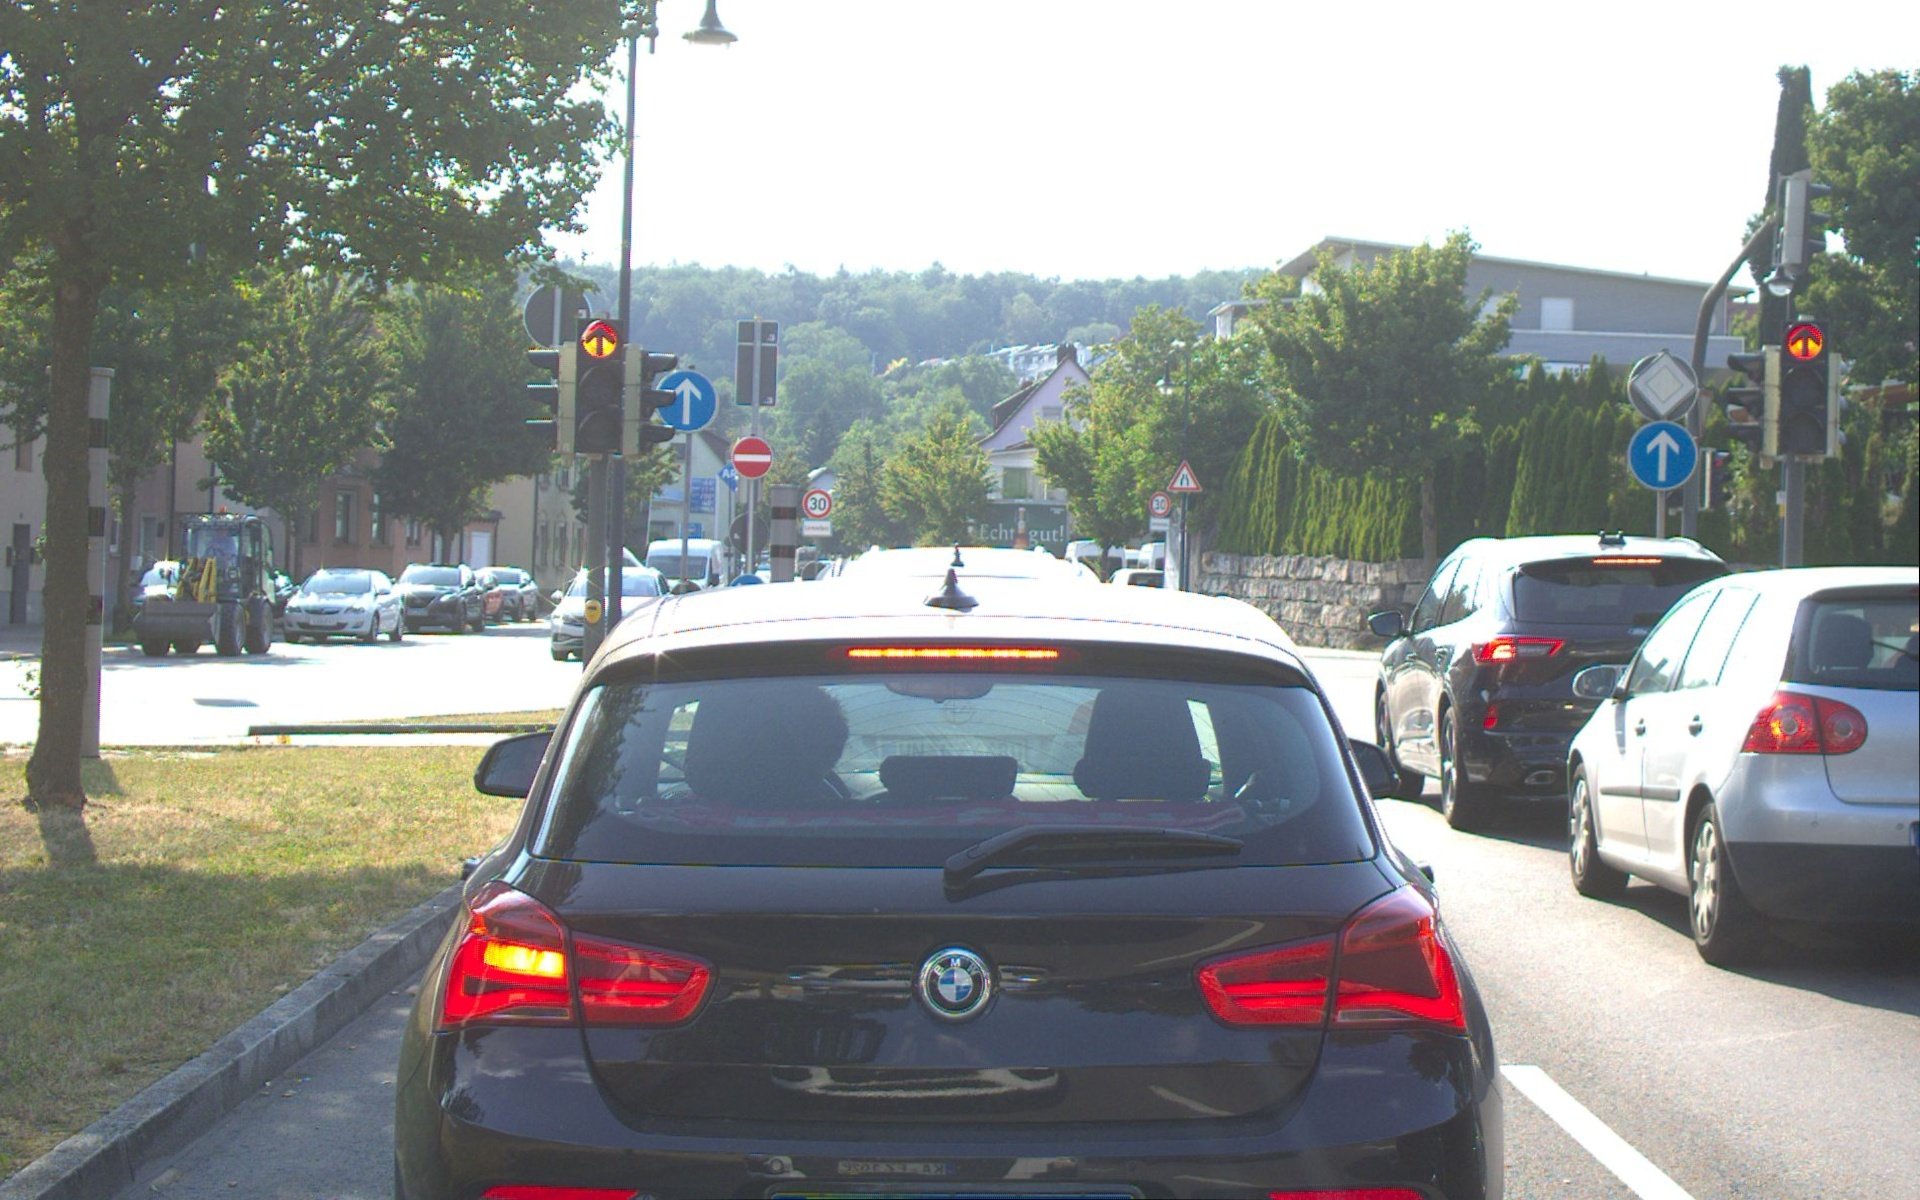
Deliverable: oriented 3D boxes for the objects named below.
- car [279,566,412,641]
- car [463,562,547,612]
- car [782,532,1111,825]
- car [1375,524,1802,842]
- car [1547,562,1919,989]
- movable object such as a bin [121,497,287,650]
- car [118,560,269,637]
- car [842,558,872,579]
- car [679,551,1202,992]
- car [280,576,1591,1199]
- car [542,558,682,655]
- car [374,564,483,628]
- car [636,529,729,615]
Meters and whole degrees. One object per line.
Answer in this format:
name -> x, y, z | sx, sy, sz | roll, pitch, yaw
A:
car -> -12.232, 0.054, 68.640 | 1.737, 1.296, 3.799 | 5, 1, 2
car -> -13.592, -0.397, 102.862 | 1.737, 1.296, 3.799 | 5, 1, 2
car -> -0.070, 0.397, 21.042 | 1.788, 1.588, 4.281 | -1, 1, 0
car -> 3.539, 0.402, 20.022 | 1.761, 1.650, 3.903 | -1, 1, 0
car -> 3.566, 0.580, 13.741 | 1.761, 1.421, 3.903 | -1, 1, 0
movable object such as a bin -> -12.428, -0.449, 56.743 | 1.736, 2.433, 4.450 | 0, 1, 0
car -> -14.929, -0.056, 67.151 | 1.737, 1.296, 4.000 | 5, 1, 3
car -> -7.180, -2.199, 239.539 | 1.737, 1.296, 3.799 | 5, 1, 2
car -> -0.063, 0.562, 14.003 | 1.788, 1.488, 4.281 | -1, 1, 0
car -> -0.026, 0.682, 6.857 | 1.788, 1.393, 4.281 | -1, 1, 0
car -> -5.585, 0.080, 55.512 | 1.839, 1.477, 4.000 | 1, 1, 0
car -> -12.409, -0.112, 80.456 | 1.737, 1.296, 3.799 | 5, 1, 2
car -> -8.058, -0.830, 100.224 | 2.084, 2.385, 5.528 | 1, 1, 1
